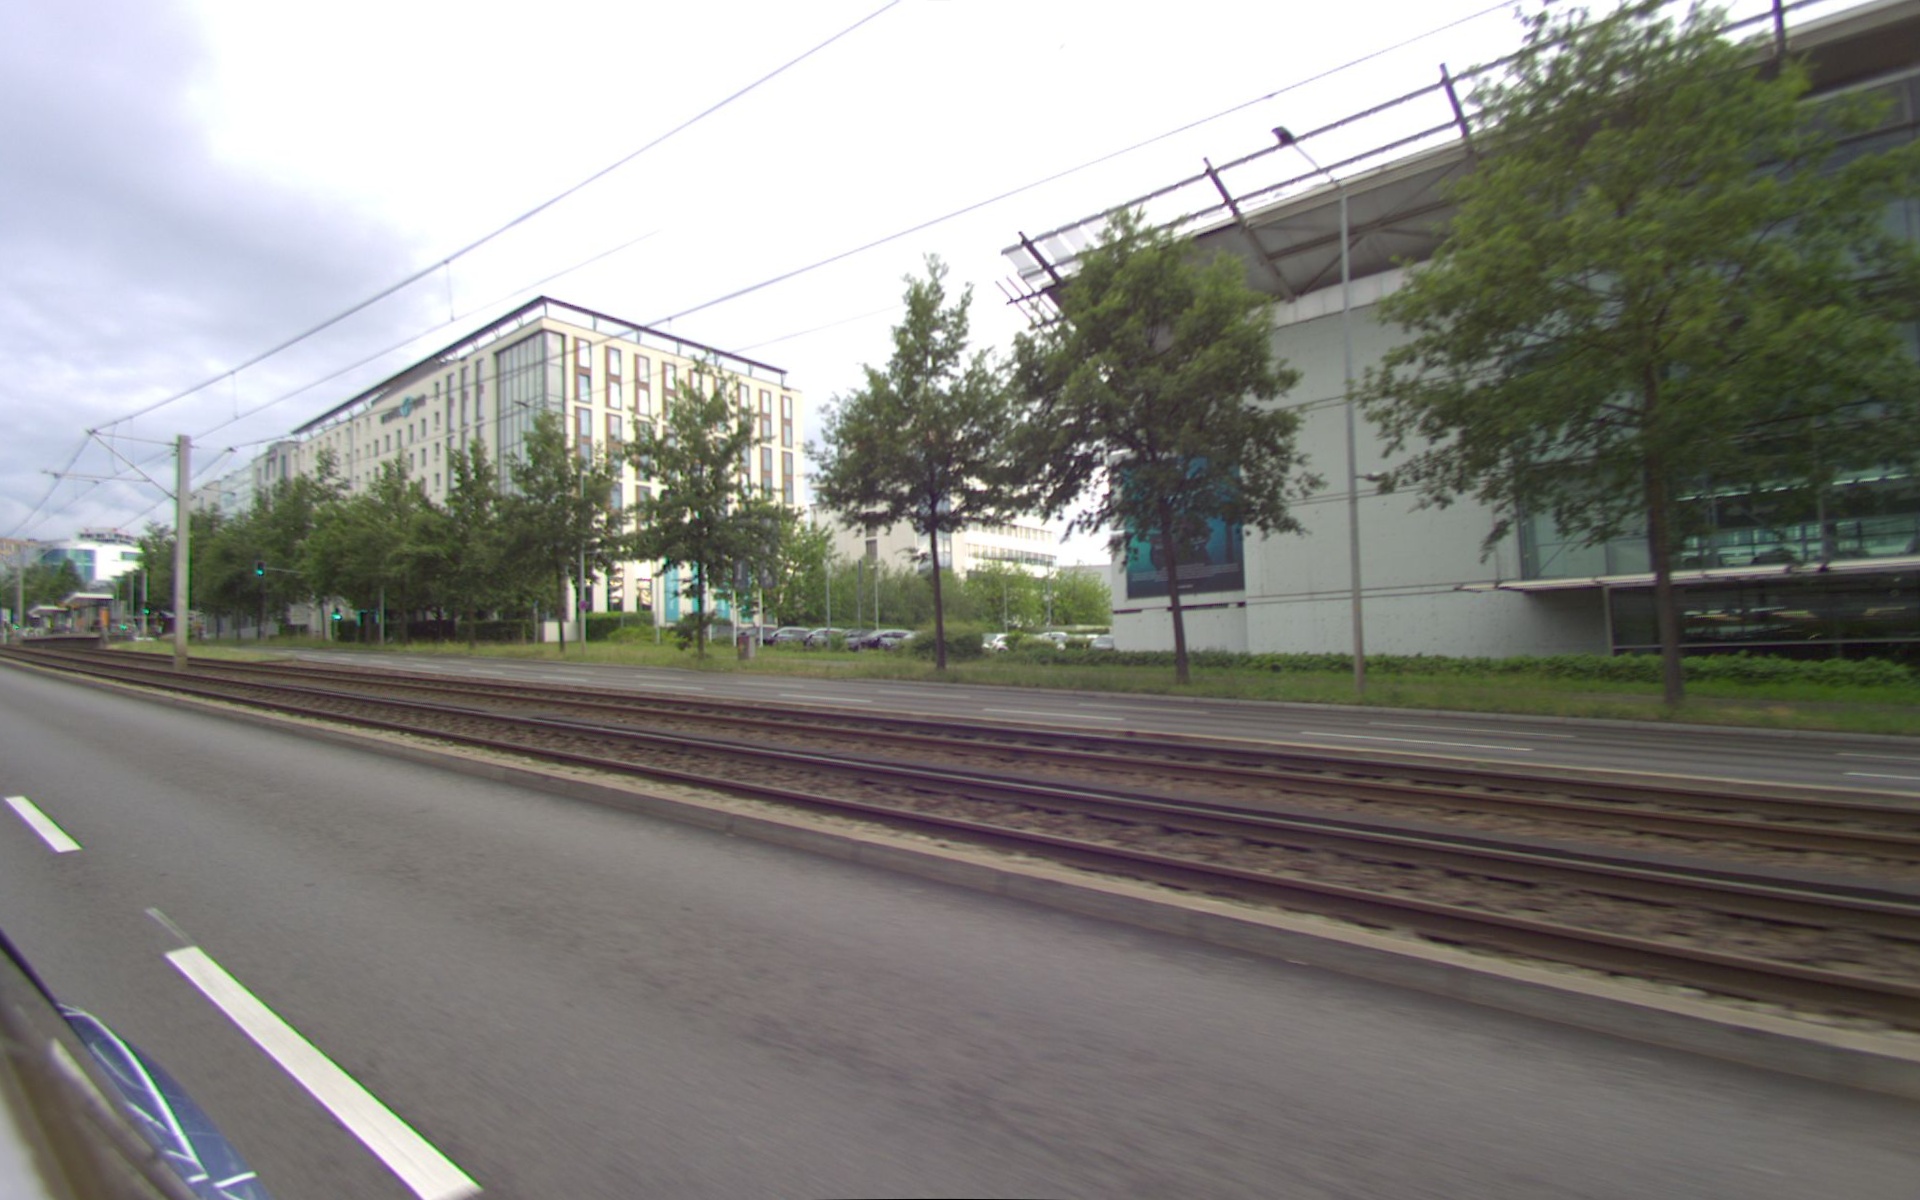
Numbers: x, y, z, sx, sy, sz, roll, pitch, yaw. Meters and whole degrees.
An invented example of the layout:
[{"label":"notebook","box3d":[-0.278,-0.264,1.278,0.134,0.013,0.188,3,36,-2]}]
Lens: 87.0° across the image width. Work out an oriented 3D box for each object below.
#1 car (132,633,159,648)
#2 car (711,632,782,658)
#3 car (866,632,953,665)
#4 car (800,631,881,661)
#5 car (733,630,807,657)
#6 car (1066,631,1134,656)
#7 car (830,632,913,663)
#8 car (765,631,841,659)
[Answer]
[{"label":"car","box3d":[-82.597,4.115,102.608,3.818,1.375,1.678,-2,-5,44]},{"label":"car","box3d":[-12.963,2.725,61.470,3.931,1.401,1.809,-1,0,-22]},{"label":"car","box3d":[-2.509,2.406,50.654,3.931,1.401,1.809,-1,0,-26]},{"label":"car","box3d":[-6.447,2.465,54.525,3.931,1.401,1.809,-1,0,-22]},{"label":"car","box3d":[-11.115,2.535,59.109,3.931,1.401,1.809,-1,0,-22]},{"label":"car","box3d":[9.016,2.801,65.264,3.931,1.401,1.809,-1,0,-18]},{"label":"car","box3d":[-4.607,2.437,52.688,3.931,1.401,1.809,-1,0,-22]},{"label":"car","box3d":[-8.829,2.500,56.961,3.931,1.401,1.770,-1,0,-22]}]
